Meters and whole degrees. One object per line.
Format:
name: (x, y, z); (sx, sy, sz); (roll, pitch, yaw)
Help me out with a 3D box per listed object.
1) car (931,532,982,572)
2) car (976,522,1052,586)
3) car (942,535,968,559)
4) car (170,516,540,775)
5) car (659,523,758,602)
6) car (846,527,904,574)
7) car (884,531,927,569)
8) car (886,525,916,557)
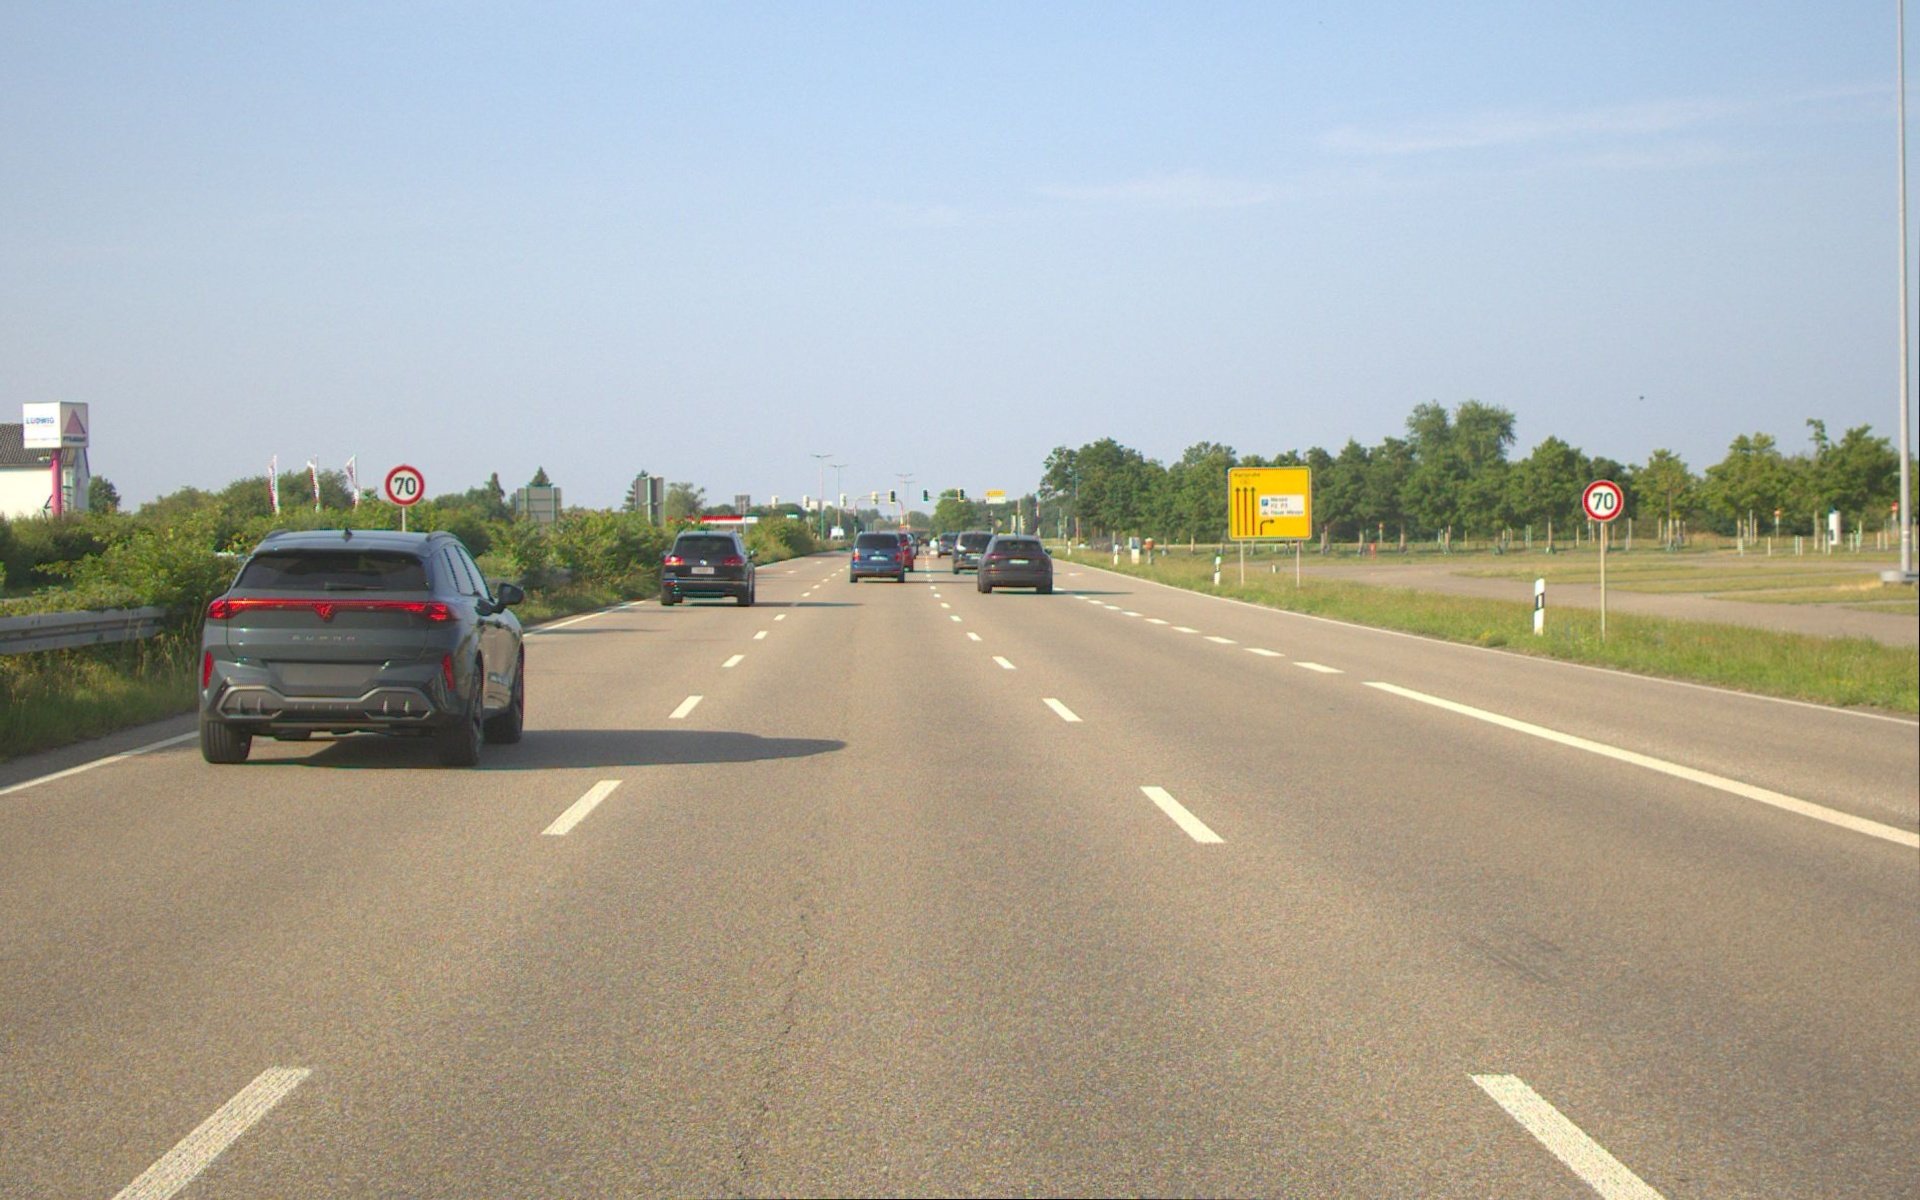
car: (-0.145, -1.873, 132.618); (1.873, 1.458, 3.981); (2, 1, -1)
car: (1.486, -1.299, 95.862); (1.932, 1.674, 4.401); (2, 1, -1)
car: (-0.299, -3.136, 203.191); (1.503, 1.309, 3.156); (2, 1, -1)
car: (-4.164, 0.249, 24.327); (1.845, 1.606, 4.401); (2, 1, -1)
car: (-5.649, -0.876, 77.625); (1.932, 1.674, 4.401); (2, 1, -1)
car: (-2.757, -1.639, 112.279); (1.812, 1.458, 4.401); (2, 1, -1)
car: (-2.154, -2.004, 136.509); (1.647, 1.458, 3.981); (2, 1, -1)
car: (-3.342, -3.310, 193.556); (1.645, 1.722, 3.401); (1, 0, -1)
